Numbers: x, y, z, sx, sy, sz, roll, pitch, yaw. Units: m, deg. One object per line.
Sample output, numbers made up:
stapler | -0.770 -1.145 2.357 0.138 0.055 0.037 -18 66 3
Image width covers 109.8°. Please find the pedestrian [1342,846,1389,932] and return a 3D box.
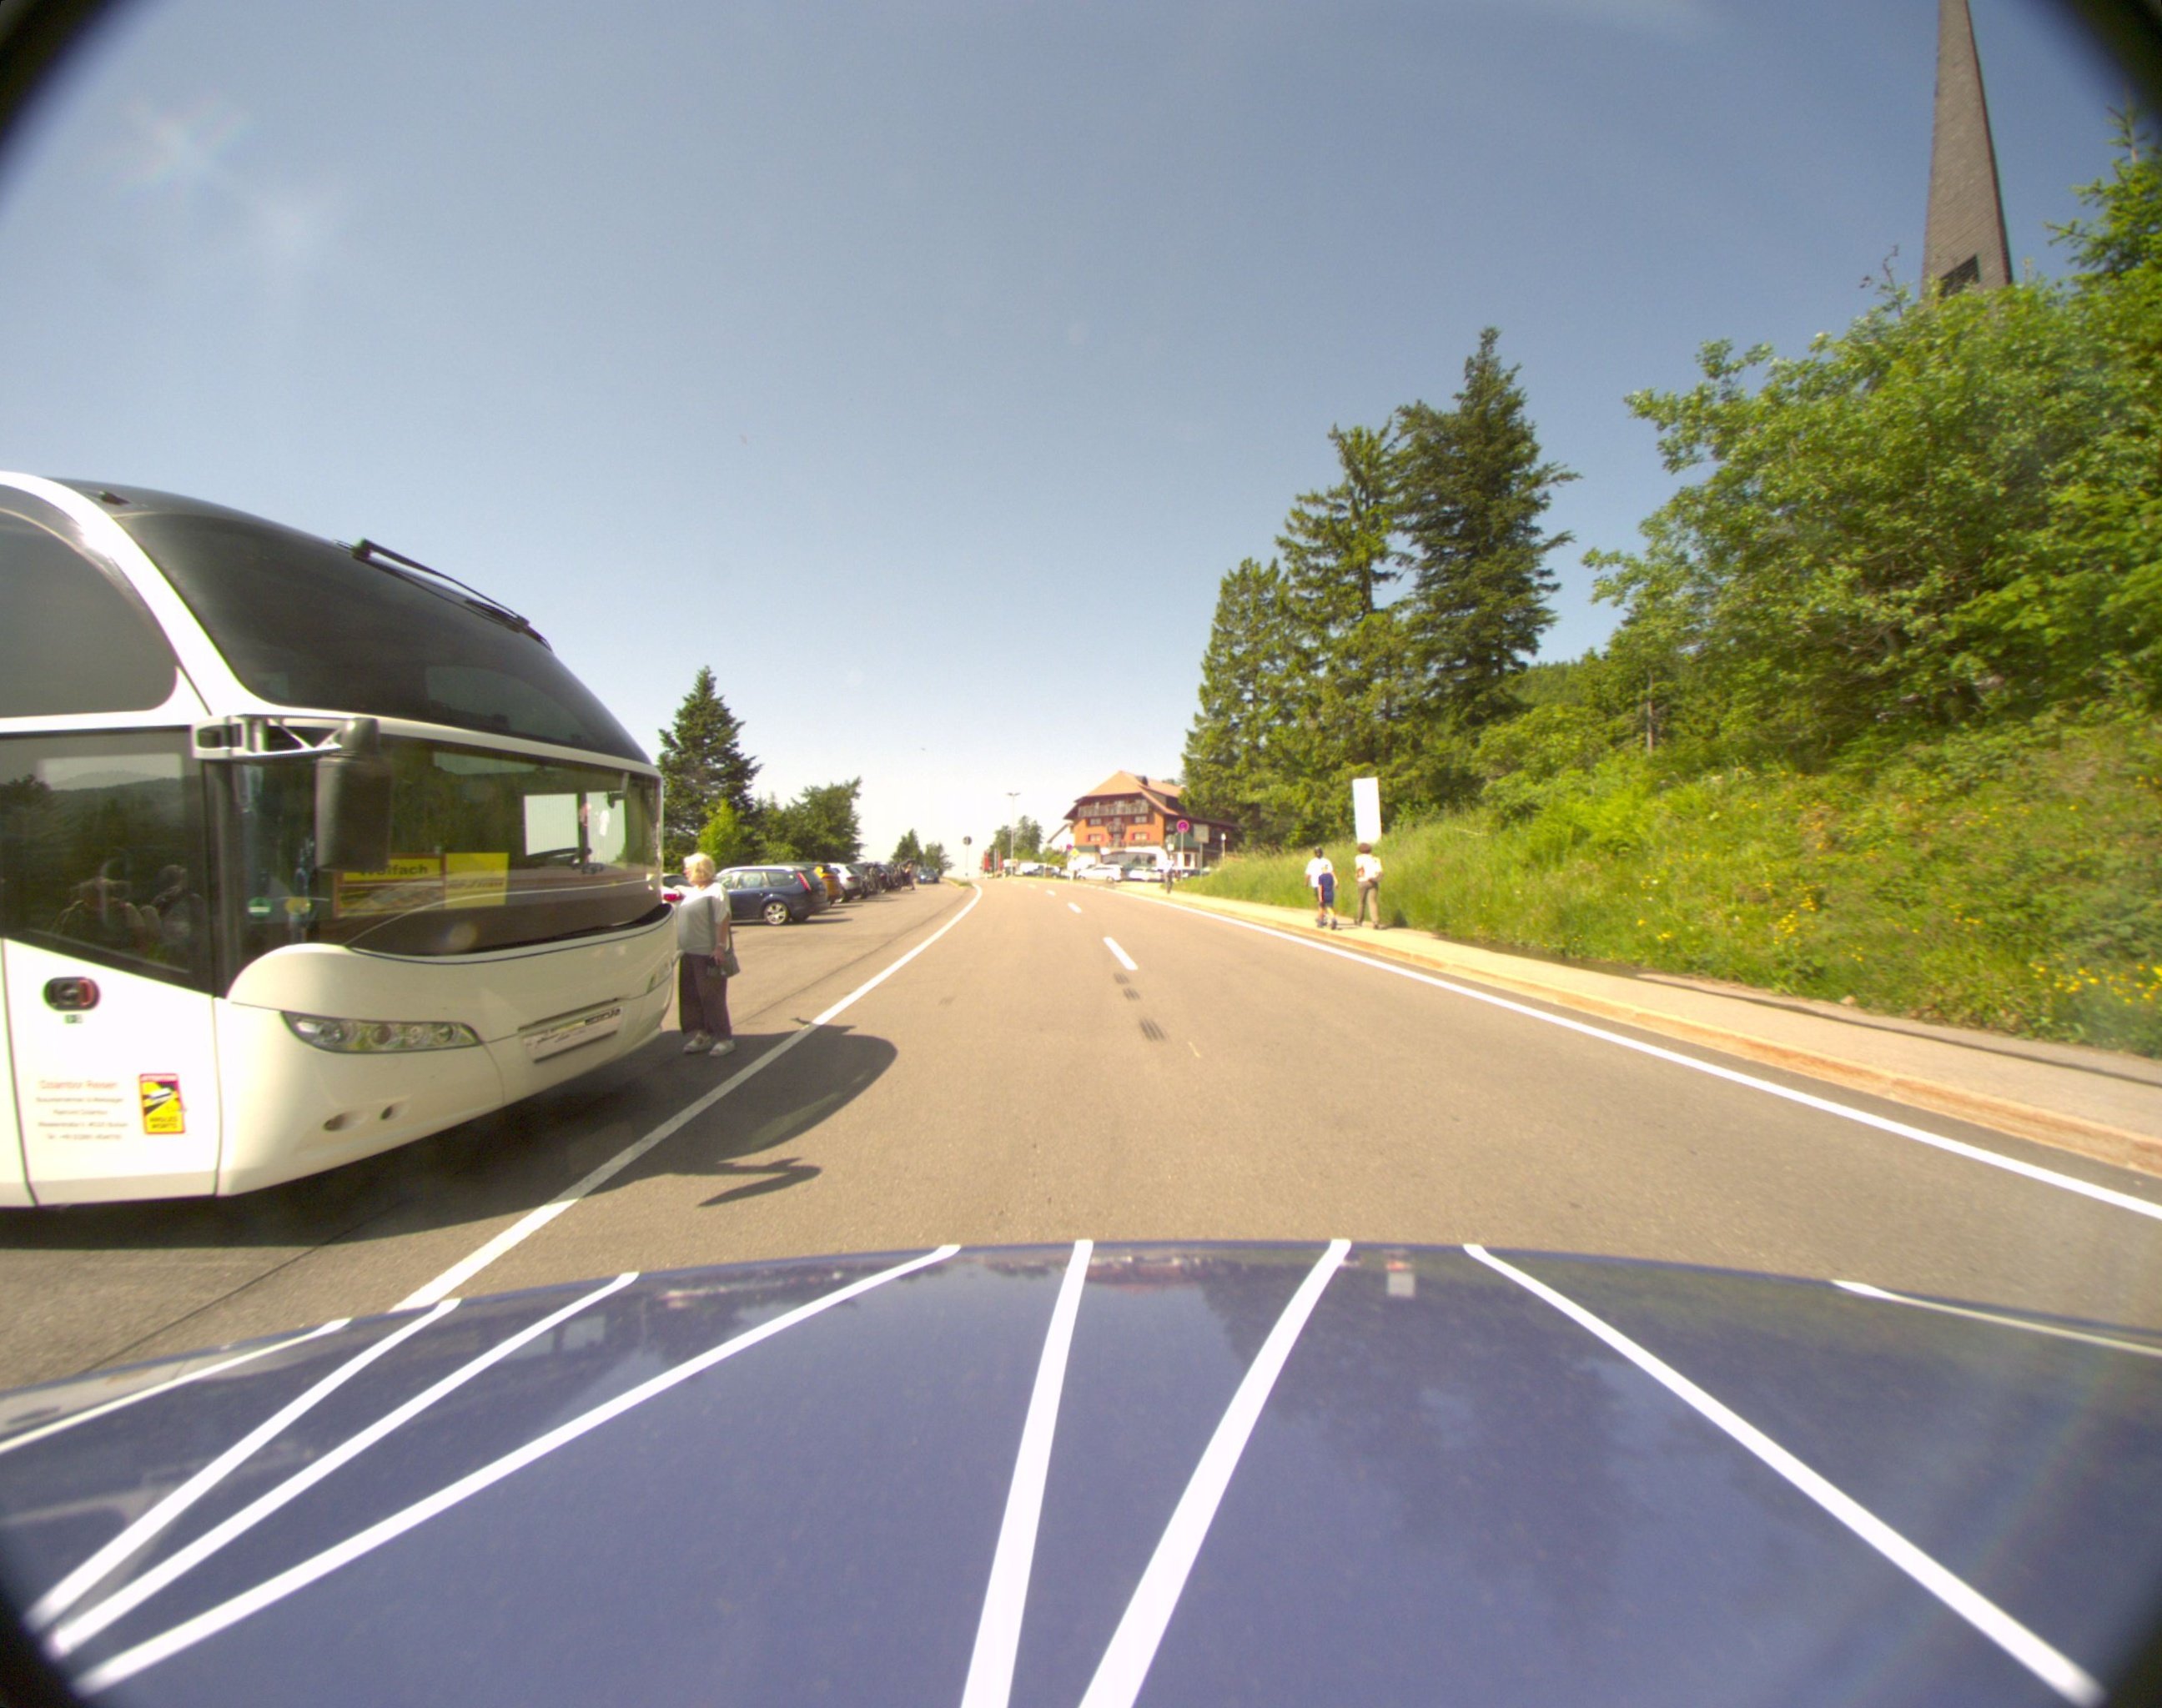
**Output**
pedestrian | 5.608 0.675 15.007 0.577 1.633 0.894 0 0 -2

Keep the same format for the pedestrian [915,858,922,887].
pedestrian | -10.280 1.150 48.015 0.367 1.812 0.549 0 0 -9

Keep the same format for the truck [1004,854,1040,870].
truck | -10.994 1.488 143.331 2.863 2.813 8.776 -1 0 25

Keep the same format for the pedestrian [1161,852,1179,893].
pedestrian | 3.767 0.766 32.291 0.581 1.731 0.686 0 0 -11

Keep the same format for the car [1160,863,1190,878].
car | 9.076 1.573 73.472 1.714 1.425 3.322 -1 0 29

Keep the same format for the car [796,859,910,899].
car | -11.405 1.230 38.310 5.116 1.610 1.999 -4 0 -7

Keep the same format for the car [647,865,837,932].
car | -8.731 1.117 19.830 4.141 1.535 1.672 -2 0 -2

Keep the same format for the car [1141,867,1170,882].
car | 7.871 2.149 79.859 1.727 1.456 3.527 -1 0 28

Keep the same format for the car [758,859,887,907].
car | -10.139 1.125 30.125 4.489 1.617 2.012 -3 0 -8

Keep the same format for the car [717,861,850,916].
car | -10.244 1.163 26.422 3.889 1.606 1.709 -3 0 -6

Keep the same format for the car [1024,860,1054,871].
car | -7.513 1.974 136.199 5.253 1.894 1.999 -1 0 -3

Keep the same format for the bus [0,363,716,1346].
bus | -9.239 0.141 4.513 12.875 3.556 2.839 -1 0 3

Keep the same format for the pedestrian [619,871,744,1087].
pedestrian | -3.287 0.978 6.330 0.745 1.633 0.708 -2 1 -18

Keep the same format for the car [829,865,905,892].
car | -11.500 1.332 41.036 3.711 1.261 1.563 -3 -1 -8

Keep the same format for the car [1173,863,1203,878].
car | 10.020 1.532 70.900 1.709 1.387 3.323 -1 -2 29

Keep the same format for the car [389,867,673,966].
car | -10.153 1.120 14.247 3.997 1.565 1.767 -2 0 1

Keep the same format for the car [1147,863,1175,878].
car | 8.141 1.682 76.682 1.636 1.425 3.323 -1 -2 29

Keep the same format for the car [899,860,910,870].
car | -35.076 2.138 151.106 2.001 2.002 3.994 -1 0 -16

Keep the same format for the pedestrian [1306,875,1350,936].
pedestrian | 4.610 0.947 14.227 0.570 1.095 0.745 0 0 -2

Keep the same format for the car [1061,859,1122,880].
car | 1.007 1.469 72.107 5.351 1.858 2.003 -1 0 23

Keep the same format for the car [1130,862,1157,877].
car | 6.820 1.672 82.874 1.710 1.543 3.141 -1 0 32

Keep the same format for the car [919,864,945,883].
car | -12.972 1.664 65.811 2.001 1.537 3.995 -1 0 -14

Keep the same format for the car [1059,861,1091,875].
car | -0.687 1.666 88.452 3.325 1.583 1.720 -1 0 35

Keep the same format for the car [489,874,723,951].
car | -10.348 1.250 16.764 3.997 1.411 1.767 -2 0 1

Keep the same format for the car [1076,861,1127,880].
car | 1.760 1.392 64.740 3.953 1.578 1.793 -1 0 28

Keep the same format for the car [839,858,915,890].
car | -12.554 1.196 47.026 4.327 1.811 1.999 -2 0 -8

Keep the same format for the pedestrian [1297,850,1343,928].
pedestrian | 4.790 0.685 15.277 0.582 1.528 0.879 0 0 -5
